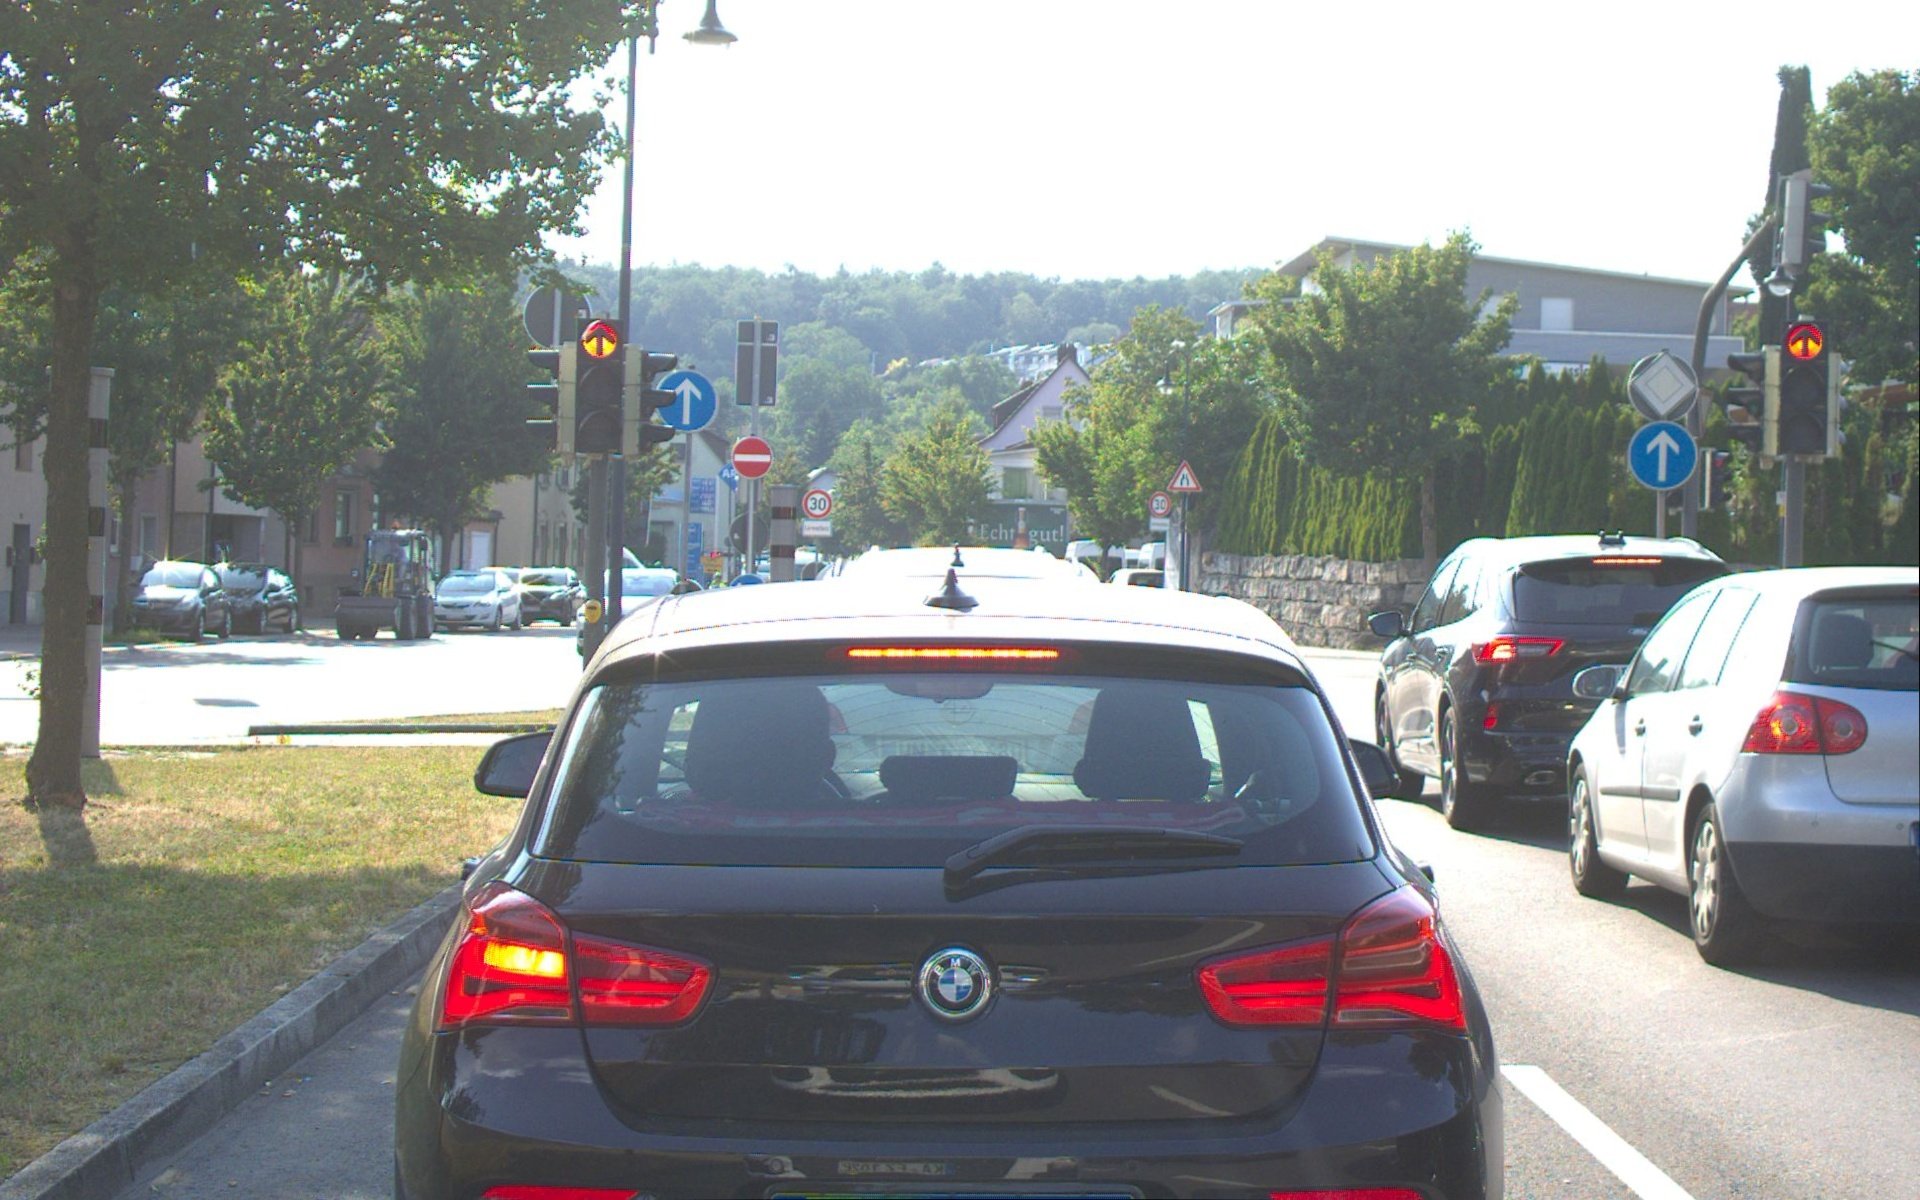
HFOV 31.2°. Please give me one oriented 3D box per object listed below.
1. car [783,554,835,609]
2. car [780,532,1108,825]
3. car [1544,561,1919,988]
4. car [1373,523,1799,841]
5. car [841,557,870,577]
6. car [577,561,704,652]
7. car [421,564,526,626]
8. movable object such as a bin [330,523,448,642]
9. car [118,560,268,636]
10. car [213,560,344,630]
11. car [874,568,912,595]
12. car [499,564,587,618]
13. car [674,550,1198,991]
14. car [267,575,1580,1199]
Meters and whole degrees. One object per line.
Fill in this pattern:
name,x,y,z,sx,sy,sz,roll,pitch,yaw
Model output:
car,-6.779,-0.851,154.636,2.084,2.385,5.529,1,1,0
car,-0.084,0.394,21.034,1.788,1.588,4.281,-1,1,0
car,3.551,0.578,13.732,1.761,1.421,3.903,-1,1,0
car,3.524,0.400,20.013,1.761,1.650,3.903,-1,1,0
car,-7.510,-2.392,247.604,1.737,1.296,3.799,5,1,2
car,-5.436,0.082,58.959,1.839,1.477,4.000,1,1,-1
car,-11.695,-0.131,82.835,1.737,1.296,3.799,5,1,2
movable object such as a bin,-12.025,-0.384,72.670,1.736,2.433,4.450,0,1,0
car,-14.938,-0.060,67.144,1.737,1.296,4.000,5,1,3
car,-14.515,-0.117,73.419,1.737,1.296,4.000,5,1,2
car,-3.645,-0.996,188.110,1.737,1.296,3.799,5,1,2
car,-11.514,-0.272,95.150,1.737,1.296,3.799,5,1,2
car,-0.078,0.559,13.994,1.788,1.488,4.281,-1,1,0
car,-0.043,0.679,6.849,1.788,1.393,4.281,-1,1,0
